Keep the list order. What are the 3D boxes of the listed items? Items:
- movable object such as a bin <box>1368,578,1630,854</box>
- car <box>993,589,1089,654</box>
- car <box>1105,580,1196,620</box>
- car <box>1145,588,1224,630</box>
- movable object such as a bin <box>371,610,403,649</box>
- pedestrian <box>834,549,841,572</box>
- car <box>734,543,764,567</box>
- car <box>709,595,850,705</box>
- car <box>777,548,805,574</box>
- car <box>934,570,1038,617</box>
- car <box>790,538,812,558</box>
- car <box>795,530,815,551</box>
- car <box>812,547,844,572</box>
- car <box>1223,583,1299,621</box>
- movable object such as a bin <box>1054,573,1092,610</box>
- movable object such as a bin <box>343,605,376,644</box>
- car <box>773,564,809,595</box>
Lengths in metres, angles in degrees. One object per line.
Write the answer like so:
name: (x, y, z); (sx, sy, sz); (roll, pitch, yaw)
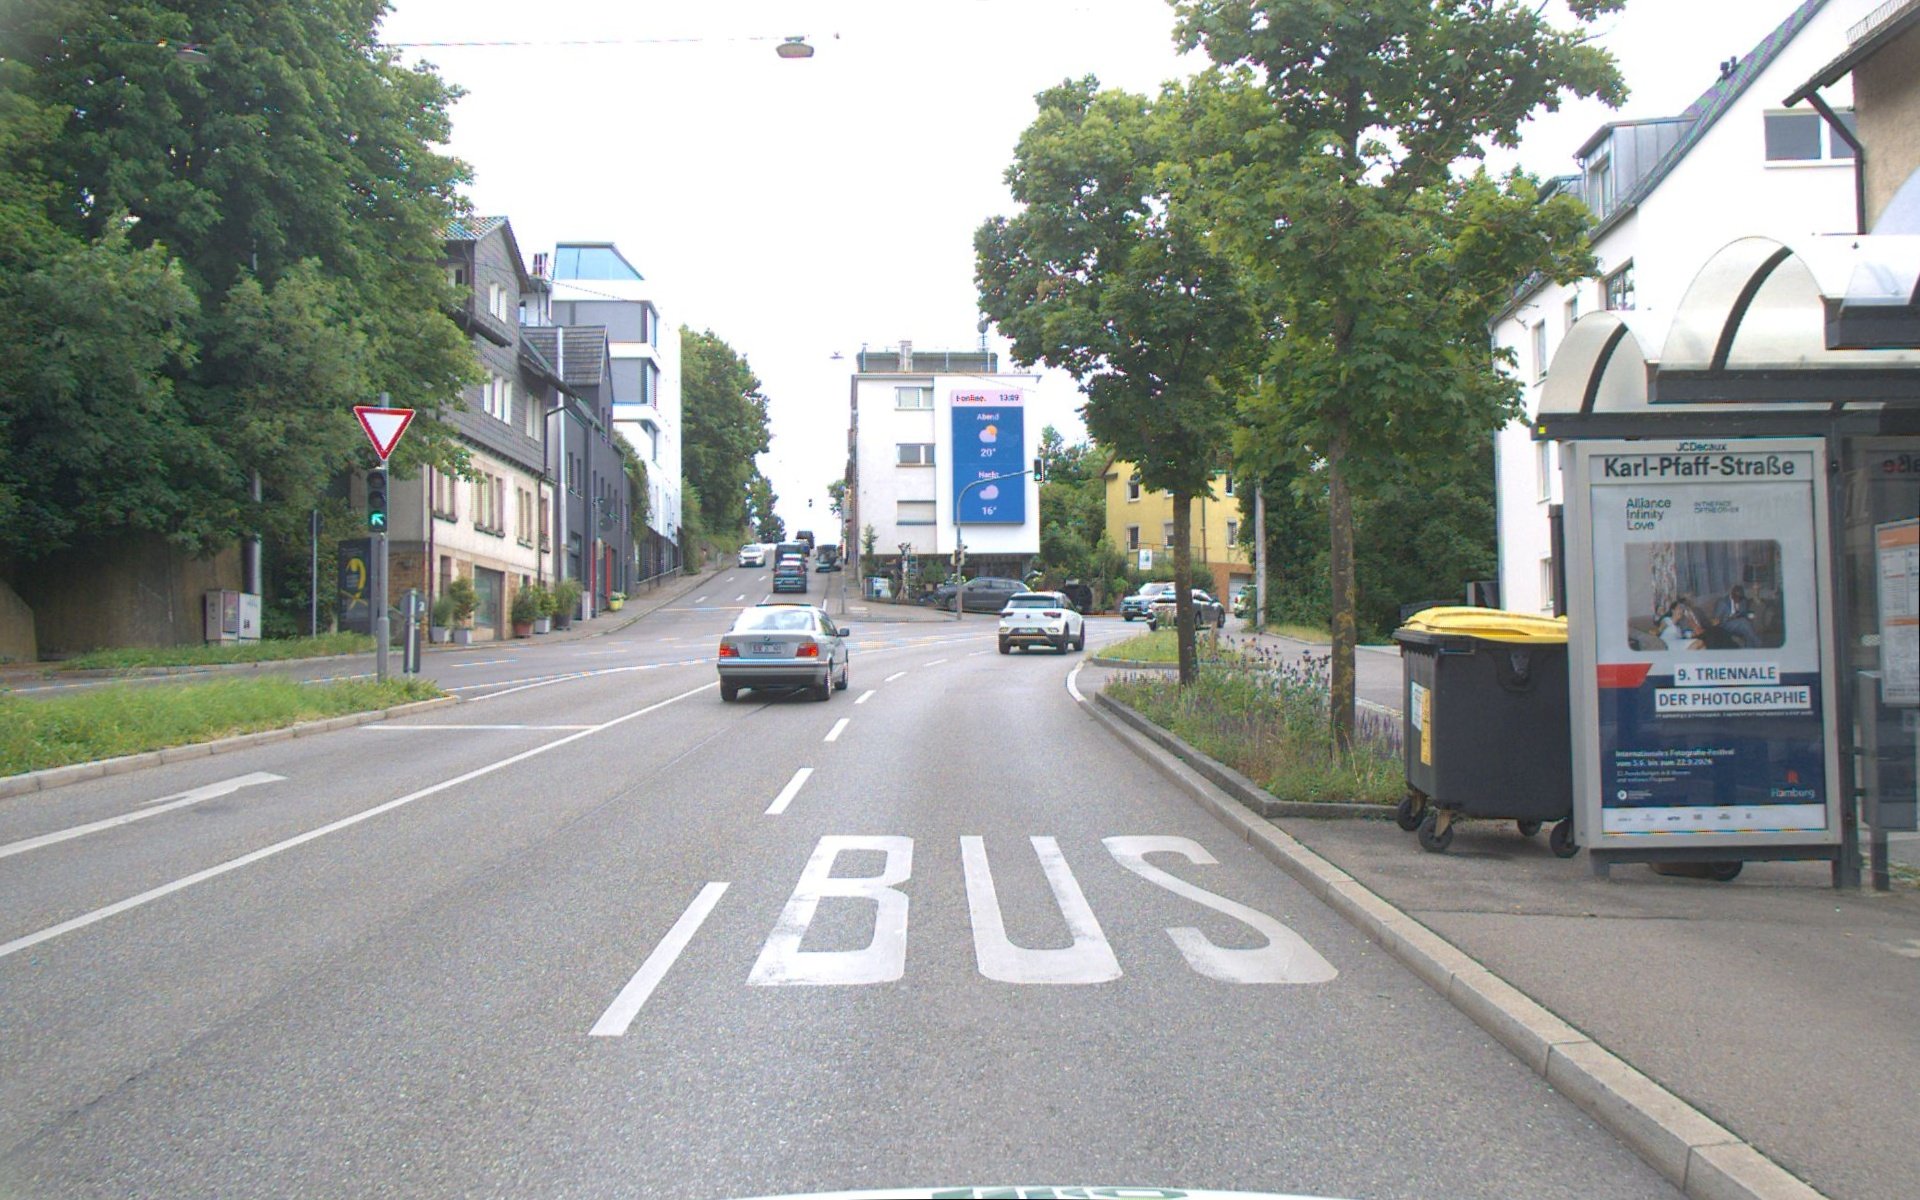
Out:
movable object such as a bin: (3.132, 0.626, 9.803); (1.063, 1.507, 1.537); (0, 0, 0)
car: (2.178, 0.534, 43.432); (1.742, 1.606, 4.003); (0, 1, 14)
car: (8.394, -0.008, 72.641); (1.867, 1.725, 4.324); (-1, 0, 40)
car: (8.044, 0.295, 59.004); (1.744, 1.434, 3.998); (1, 1, 24)
movable object such as a bin: (-15.321, 0.794, 44.217); (0.526, 1.037, 0.647); (-1, -2, 13)
pedestrian: (-8.166, -2.630, 110.098); (0.449, 1.556, 0.527); (0, -1, -3)
car: (-15.255, -3.281, 119.763); (1.846, 1.594, 4.387); (-1, 3, -4)
car: (-2.672, 0.700, 25.287); (1.671, 1.489, 4.000); (0, 1, 0)
car: (-11.497, -2.632, 112.796); (1.745, 1.606, 3.997); (-2, 0, -4)
car: (1.192, -0.304, 77.195); (4.596, 1.741, 2.318); (4, 3, -4)
car: (-13.778, -4.514, 143.305); (1.745, 1.606, 3.997); (0, 0, -4)
car: (-16.026, -6.129, 171.503); (1.954, 2.049, 3.997); (0, 1, -4)
car: (-8.874, -2.708, 111.637); (2.048, 1.641, 3.998); (0, 0, -3)
car: (13.385, 0.066, 73.419); (1.750, 1.606, 3.985); (0, 1, 36)
movable object such as a bin: (5.621, -0.421, 82.238); (1.725, 1.810, 1.856); (-1, 0, 9)
movable object such as a bin: (-16.135, 0.654, 44.450); (0.565, 1.037, 0.647); (-1, -2, 13)
car: (-8.898, -1.082, 87.364); (1.745, 1.606, 3.997); (0, 1, -4)
